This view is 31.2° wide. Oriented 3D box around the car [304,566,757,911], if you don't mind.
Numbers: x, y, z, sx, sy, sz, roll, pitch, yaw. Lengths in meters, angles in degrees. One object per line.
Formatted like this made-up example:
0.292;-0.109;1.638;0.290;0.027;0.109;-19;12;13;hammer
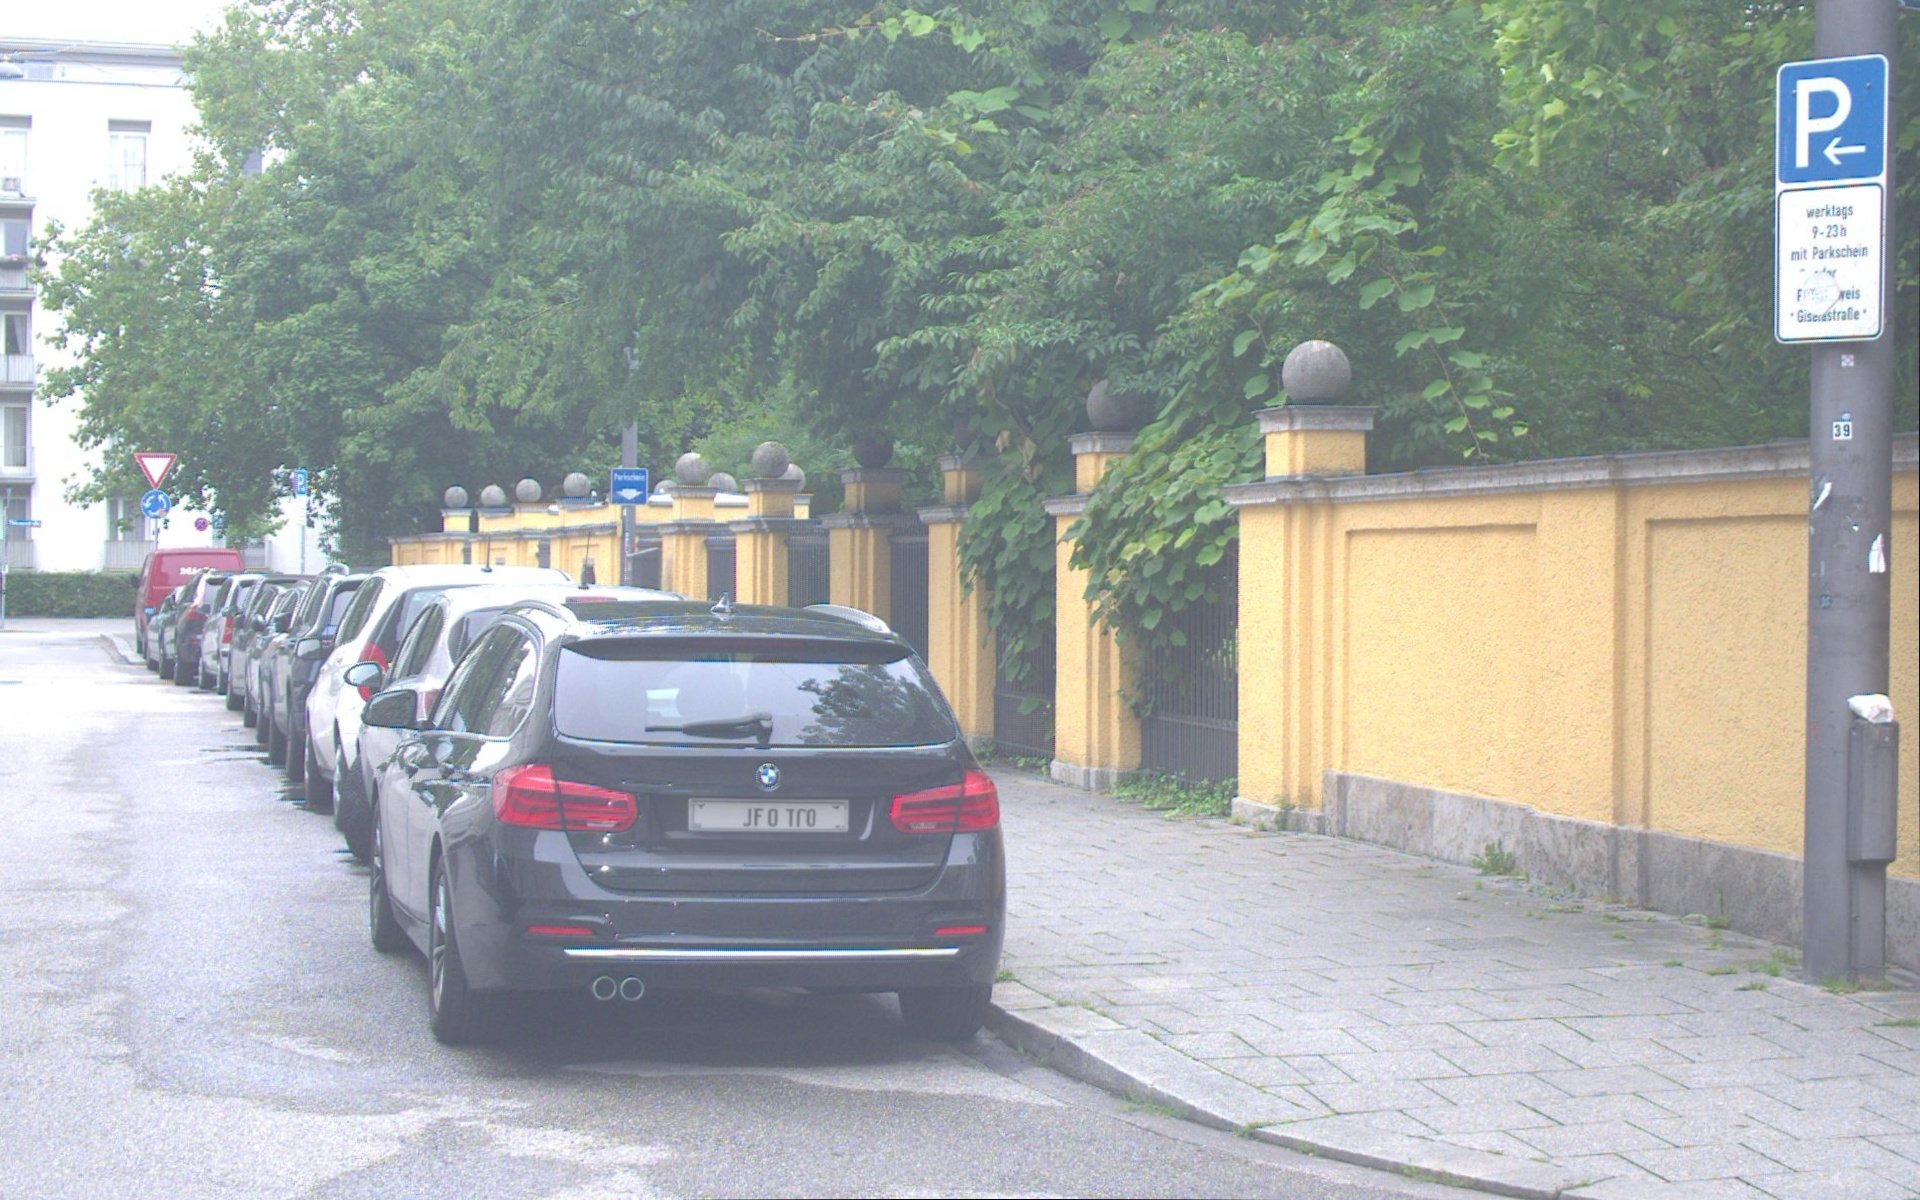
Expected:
-2.249;0.620;17.157;1.652;1.513;3.796;2;0;-16;car

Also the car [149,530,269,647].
-13.324;-0.231;61.176;1.836;1.920;4.006;3;0;-10;car

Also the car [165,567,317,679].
-10.415;0.318;49.614;1.838;1.513;3.949;2;0;-16;car

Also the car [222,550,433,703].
-6.870;0.270;37.046;1.838;1.513;3.949;2;0;-16;car

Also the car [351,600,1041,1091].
-1.134;0.733;12.245;1.838;1.408;4.343;2;0;-12;car

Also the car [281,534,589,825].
-3.394;0.462;21.750;1.513;1.656;3.675;2;0;-15;car

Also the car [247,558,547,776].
-4.465;0.487;26.832;1.838;1.546;3.949;2;0;-16;car

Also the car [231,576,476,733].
-5.745;0.481;32.254;1.838;1.341;3.949;2;0;-16;car

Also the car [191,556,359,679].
-9.127;0.214;45.614;1.838;1.513;3.949;2;0;-16;car
